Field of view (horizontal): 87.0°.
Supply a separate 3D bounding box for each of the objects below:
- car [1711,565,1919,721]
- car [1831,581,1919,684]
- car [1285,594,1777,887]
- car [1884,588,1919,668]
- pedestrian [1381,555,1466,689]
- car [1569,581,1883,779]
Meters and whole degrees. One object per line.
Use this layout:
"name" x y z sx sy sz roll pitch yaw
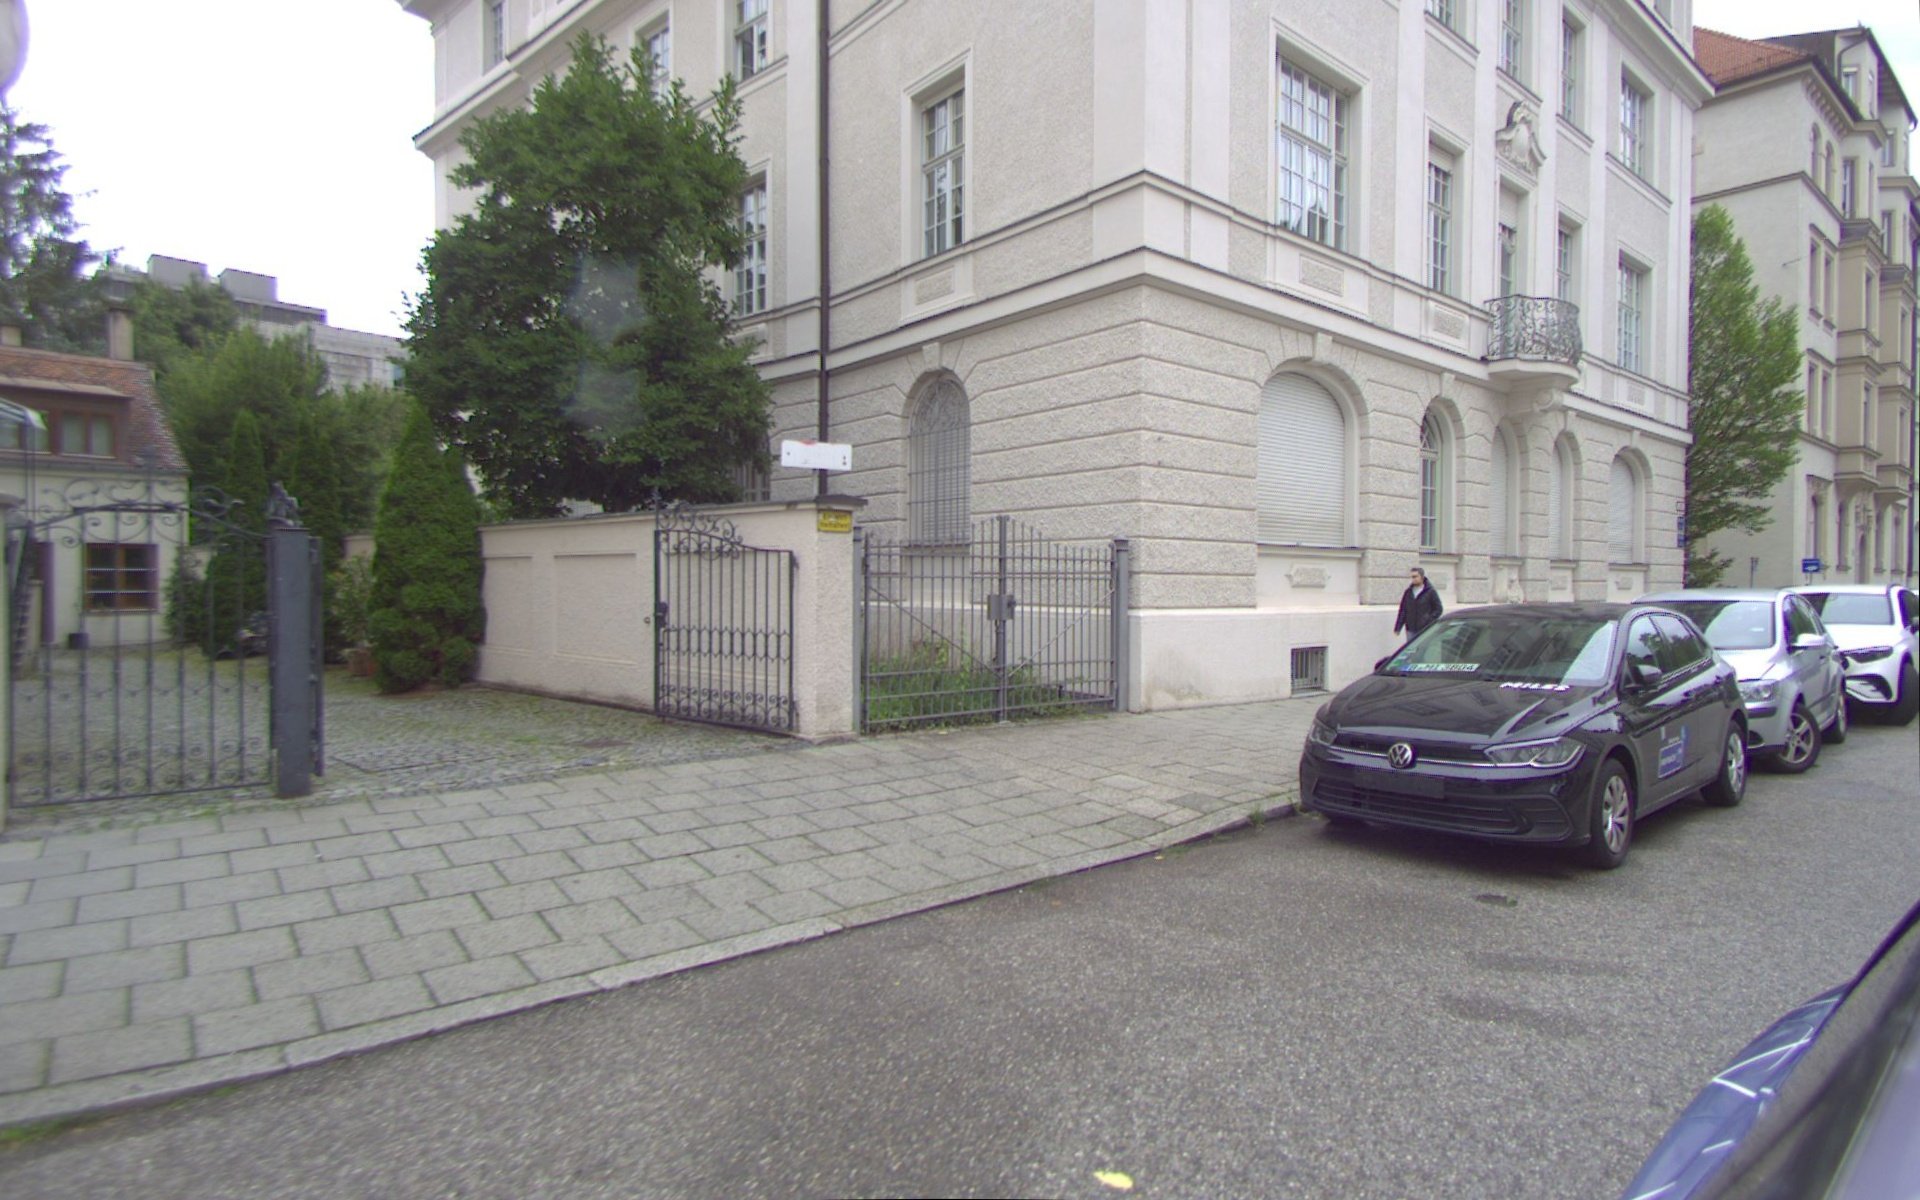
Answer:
"car" 11.391 0.449 12.857 4.311 1.657 1.900 1 1 -38
"car" 15.812 0.468 16.506 4.095 1.544 1.752 -1 1 -39
"car" 4.007 0.677 6.828 3.929 1.412 1.615 -1 0 -40
"car" 19.289 0.513 19.446 4.149 1.470 1.715 0 0 -40
"pedestrian" 6.173 0.270 13.485 0.797 1.699 0.684 0 3 -40
"car" 7.462 0.581 9.718 3.932 1.520 1.710 -1 1 -42
